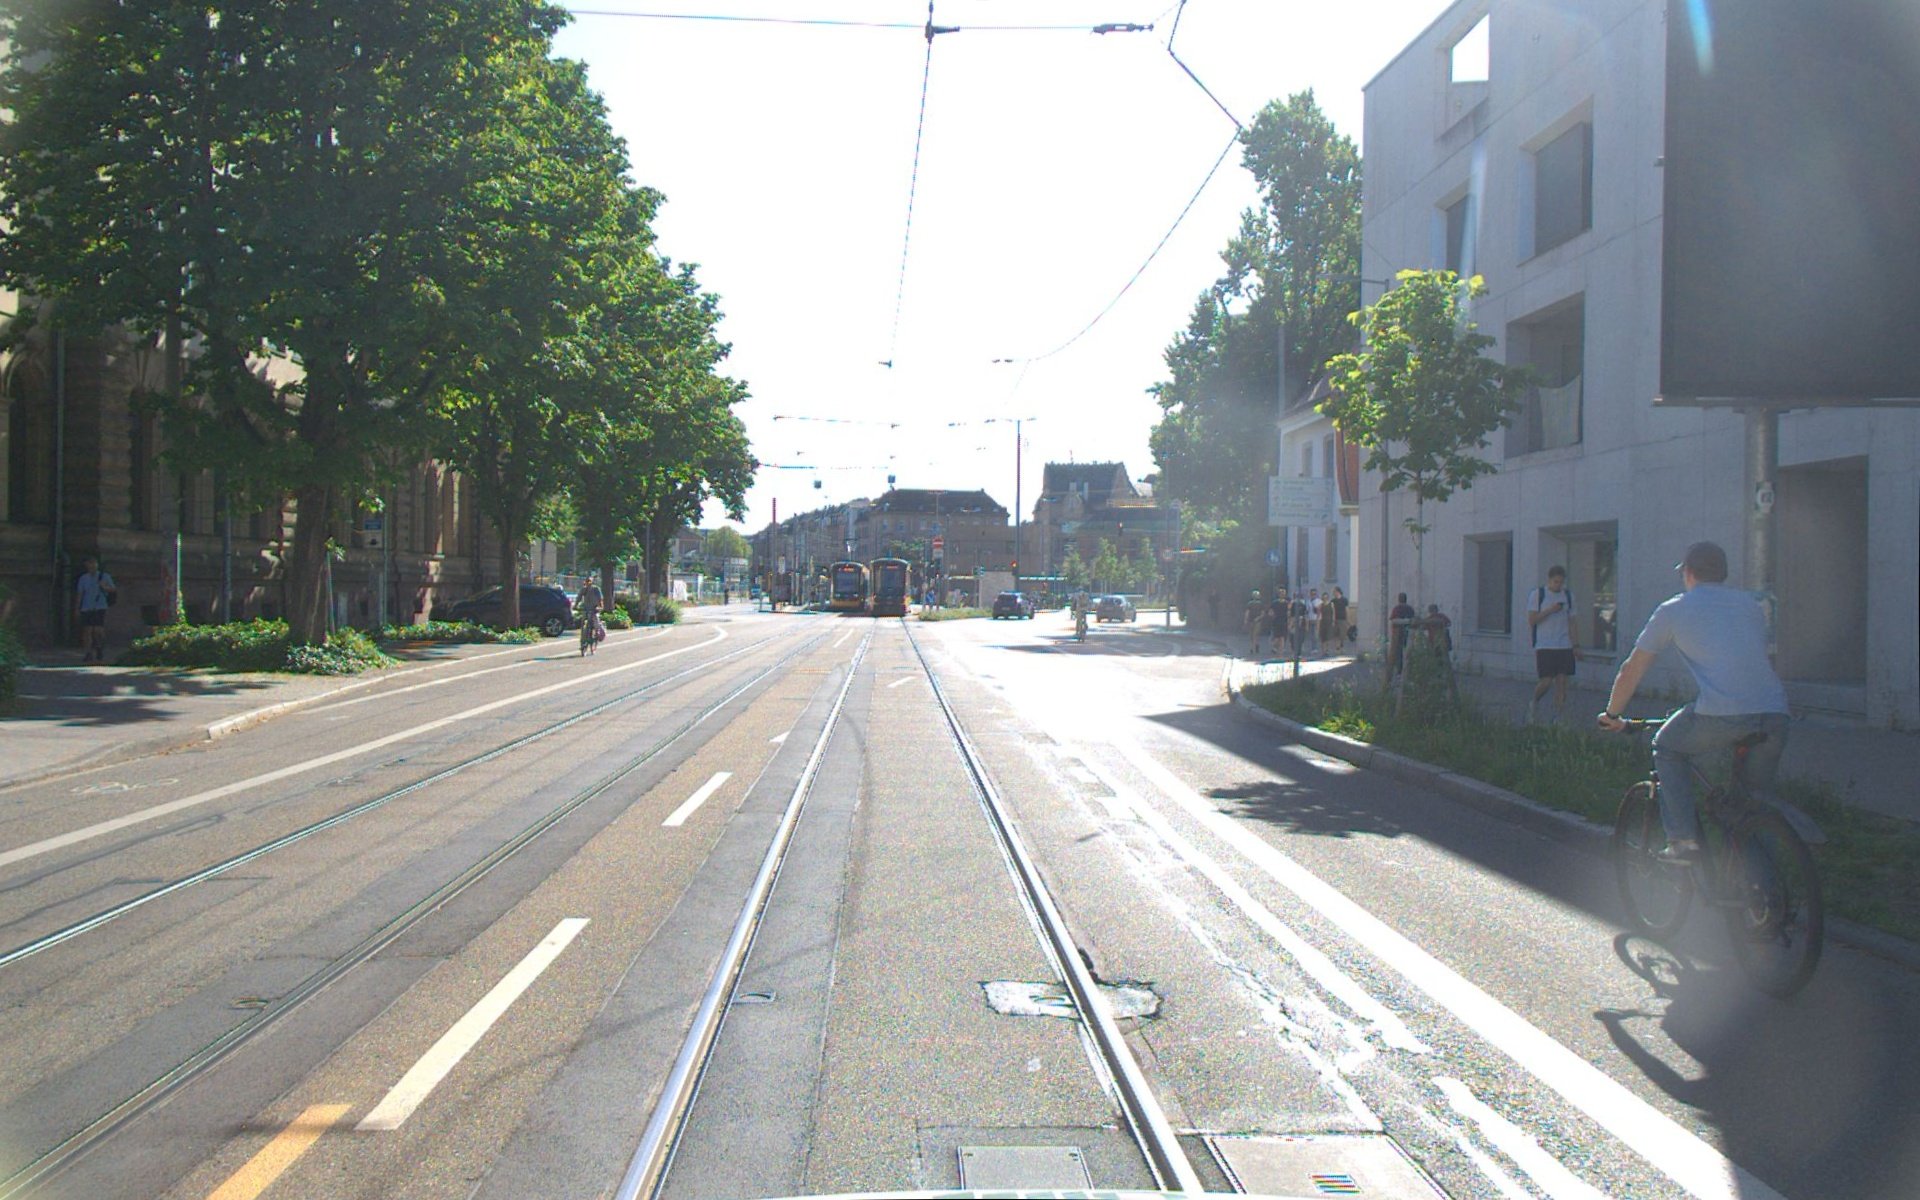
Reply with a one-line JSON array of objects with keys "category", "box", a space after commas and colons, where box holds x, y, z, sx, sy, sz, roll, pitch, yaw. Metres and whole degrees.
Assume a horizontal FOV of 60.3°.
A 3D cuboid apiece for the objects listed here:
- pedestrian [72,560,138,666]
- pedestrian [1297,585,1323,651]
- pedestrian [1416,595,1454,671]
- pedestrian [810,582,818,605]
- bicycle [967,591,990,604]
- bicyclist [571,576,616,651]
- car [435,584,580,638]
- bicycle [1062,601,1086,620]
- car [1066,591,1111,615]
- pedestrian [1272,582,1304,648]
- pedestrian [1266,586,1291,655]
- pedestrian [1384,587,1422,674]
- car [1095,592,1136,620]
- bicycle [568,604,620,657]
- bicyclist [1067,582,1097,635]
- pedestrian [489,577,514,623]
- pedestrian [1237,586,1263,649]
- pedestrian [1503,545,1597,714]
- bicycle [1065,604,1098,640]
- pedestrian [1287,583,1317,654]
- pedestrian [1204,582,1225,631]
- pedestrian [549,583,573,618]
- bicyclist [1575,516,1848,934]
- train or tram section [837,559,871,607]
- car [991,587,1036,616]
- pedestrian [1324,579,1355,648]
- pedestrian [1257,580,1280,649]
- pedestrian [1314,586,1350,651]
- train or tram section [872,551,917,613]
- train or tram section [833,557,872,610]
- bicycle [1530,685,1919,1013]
[{"category": "pedestrian", "box": [-15.243, 0.229, 29.494, 0.715, 1.828, 0.779, 3, 0, -6]}, {"category": "pedestrian", "box": [9.802, 0.494, 46.317, 0.597, 1.805, 0.653, -4, 0, 13]}, {"category": "pedestrian", "box": [8.984, 0.617, 31.296, 0.507, 1.429, 0.764, 0, 0, 0]}, {"category": "pedestrian", "box": [-11.923, -0.513, 135.171, 0.614, 1.859, 0.662, 0, 0, -4]}, {"category": "bicycle", "box": [1.528, -0.201, 139.735, 1.896, 1.122, 0.598, 0, 1, -5]}, {"category": "bicyclist", "box": [-8.410, 0.305, 37.968, 0.672, 1.673, 1.238, -2, 0, 2]}, {"category": "car", "box": [-13.869, 0.345, 50.673, 3.945, 1.577, 1.859, 1, 0, -30]}, {"category": "bicycle", "box": [6.892, 0.620, 99.951, 0.690, 1.073, 2.313, 3, 1, 22]}, {"category": "car", "box": [9.314, 0.238, 119.473, 1.671, 1.672, 3.703, 2, 1, 32]}, {"category": "pedestrian", "box": [9.309, 0.432, 46.970, 0.519, 1.805, 0.732, -4, 0, 38]}, {"category": "pedestrian", "box": [8.372, 0.531, 43.518, 0.484, 1.758, 0.817, -4, 0, 8]}, {"category": "pedestrian", "box": [8.405, 0.567, 31.394, 0.507, 1.628, 0.764, 0, 0, 0]}, {"category": "car", "box": [9.238, 0.333, 98.264, 1.751, 1.537, 3.715, 2, 1, 16]}, {"category": "bicycle", "box": [-8.397, 0.689, 37.995, 0.672, 1.144, 1.932, -2, 0, 2]}, {"category": "bicyclist", "box": [4.036, 0.263, 54.625, 0.690, 1.704, 1.102, 2, 1, 17]}, {"category": "pedestrian", "box": [-17.119, 0.005, 61.784, 0.686, 1.663, 0.759, 3, 0, -3]}, {"category": "pedestrian", "box": [8.293, 0.492, 47.279, 0.593, 1.777, 0.718, -3, 0, 5]}, {"category": "pedestrian", "box": [6.773, 0.329, 19.029, 0.670, 1.882, 0.955, -1, 0, -4]}, {"category": "bicycle", "box": [4.022, 0.717, 54.630, 0.690, 1.124, 1.718, 2, 1, 17]}, {"category": "pedestrian", "box": [9.022, 0.482, 43.641, 0.633, 1.793, 0.957, -4, 0, 12]}, {"category": "pedestrian", "box": [10.377, 0.266, 67.481, 0.625, 1.937, 1.134, -2, 0, -1]}, {"category": "pedestrian", "box": [-17.577, 0.042, 72.876, 0.909, 1.531, 0.700, 0, 0, -25]}, {"category": "bicyclist", "box": [3.308, 0.519, 7.367, 0.723, 1.715, 0.971, 2, 0, -1]}, {"category": "train or tram section", "box": [-8.670, -1.431, 136.032, 2.687, 3.715, 12.536, 0, 1, -3]}, {"category": "car", "box": [3.141, 0.076, 96.774, 1.751, 1.632, 3.715, 2, 1, 16]}, {"category": "pedestrian", "box": [10.371, 0.371, 45.246, 0.643, 1.833, 0.732, -3, 0, 5]}, {"category": "pedestrian", "box": [8.805, 0.414, 47.253, 0.507, 1.935, 0.612, -3, 0, 5]}, {"category": "pedestrian", "box": [9.825, 0.492, 43.725, 0.811, 1.632, 0.894, -4, 0, 12]}, {"category": "train or tram section", "box": [-4.297, -1.161, 105.944, 2.687, 3.715, 13.777, 0, 1, -3]}, {"category": "train or tram section", "box": [-7.944, -1.245, 122.950, 2.687, 3.715, 13.777, 0, 1, -3]}, {"category": "bicycle", "box": [3.293, 1.006, 7.380, 0.723, 1.113, 2.111, 2, 0, -1]}]
